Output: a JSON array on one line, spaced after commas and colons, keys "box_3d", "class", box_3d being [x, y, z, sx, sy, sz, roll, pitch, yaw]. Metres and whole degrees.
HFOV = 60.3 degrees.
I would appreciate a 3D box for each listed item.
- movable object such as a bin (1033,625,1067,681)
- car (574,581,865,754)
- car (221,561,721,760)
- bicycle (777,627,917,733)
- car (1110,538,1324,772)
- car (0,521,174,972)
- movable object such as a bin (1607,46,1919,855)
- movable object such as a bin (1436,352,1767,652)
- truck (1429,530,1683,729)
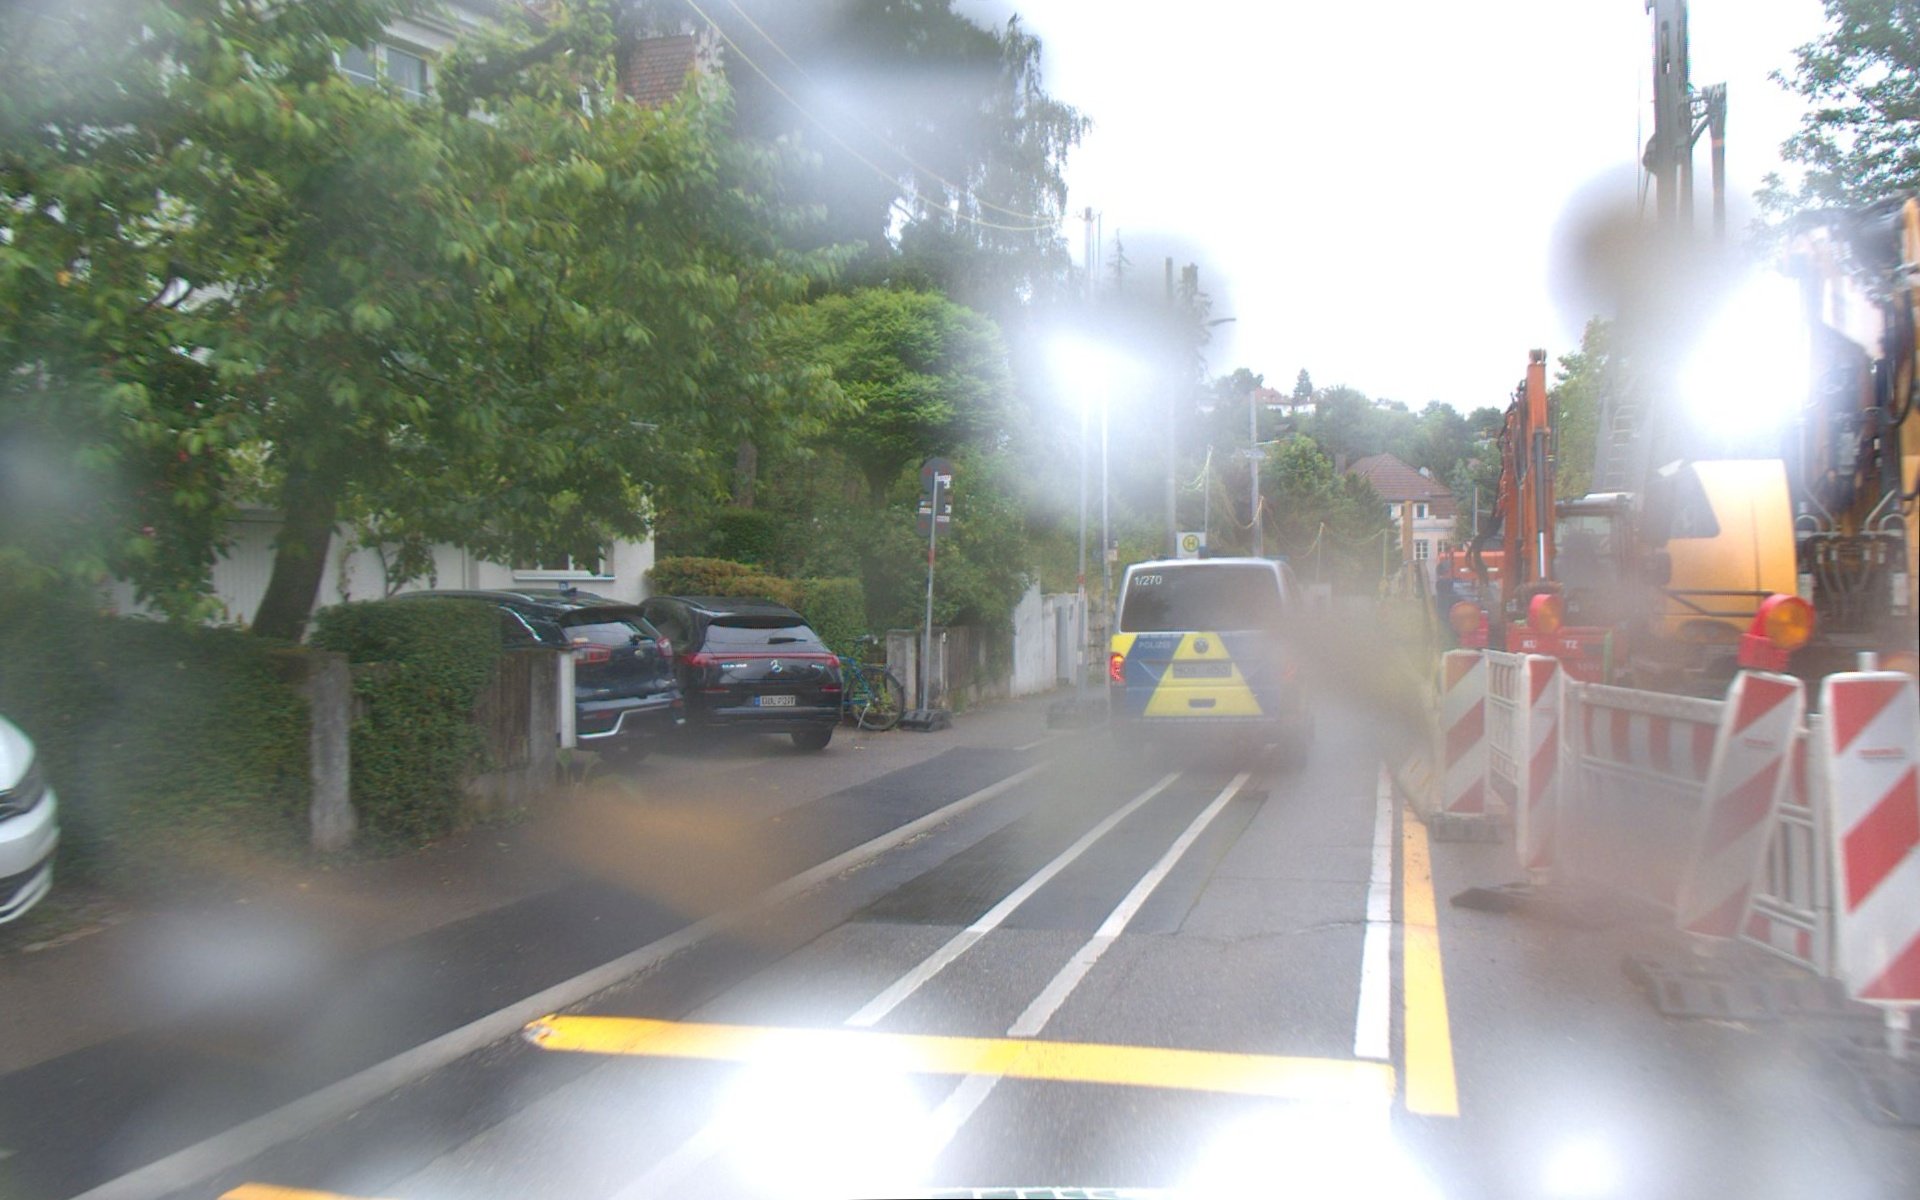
[{"box_3d": [1.611, 0.938, 29.576, 0.496, 0.982, 0.498, 1, -1, 15], "class": "movable object such as a bin"}, {"box_3d": [-2.598, 0.624, 17.064, 1.760, 1.552, 3.964, 1, -1, -27], "class": "car"}, {"box_3d": [-4.299, 0.472, 14.593, 3.907, 1.552, 1.939, 1, -1, 24], "class": "car"}, {"box_3d": [-1.298, 0.896, 18.877, 1.587, 1.151, 0.442, 0, -1, 29], "class": "bicycle"}, {"box_3d": [2.759, 0.514, 16.917, 1.867, 2.046, 4.443, 1, -1, 12], "class": "car"}, {"box_3d": [-5.989, 0.226, 7.225, 4.873, 1.642, 1.862, 11, 5, 25], "class": "car"}, {"box_3d": [5.930, -0.809, 10.759, 2.818, 4.244, 4.489, -1, 0, 18], "class": "movable object such as a bin"}, {"box_3d": [12.707, -1.643, 32.426, 3.629, 5.155, 7.117, -2, -2, 42], "class": "movable object such as a bin"}, {"box_3d": [6.985, 0.369, 19.791, 2.496, 2.145, 3.306, -1, -2, 14], "class": "truck"}]
